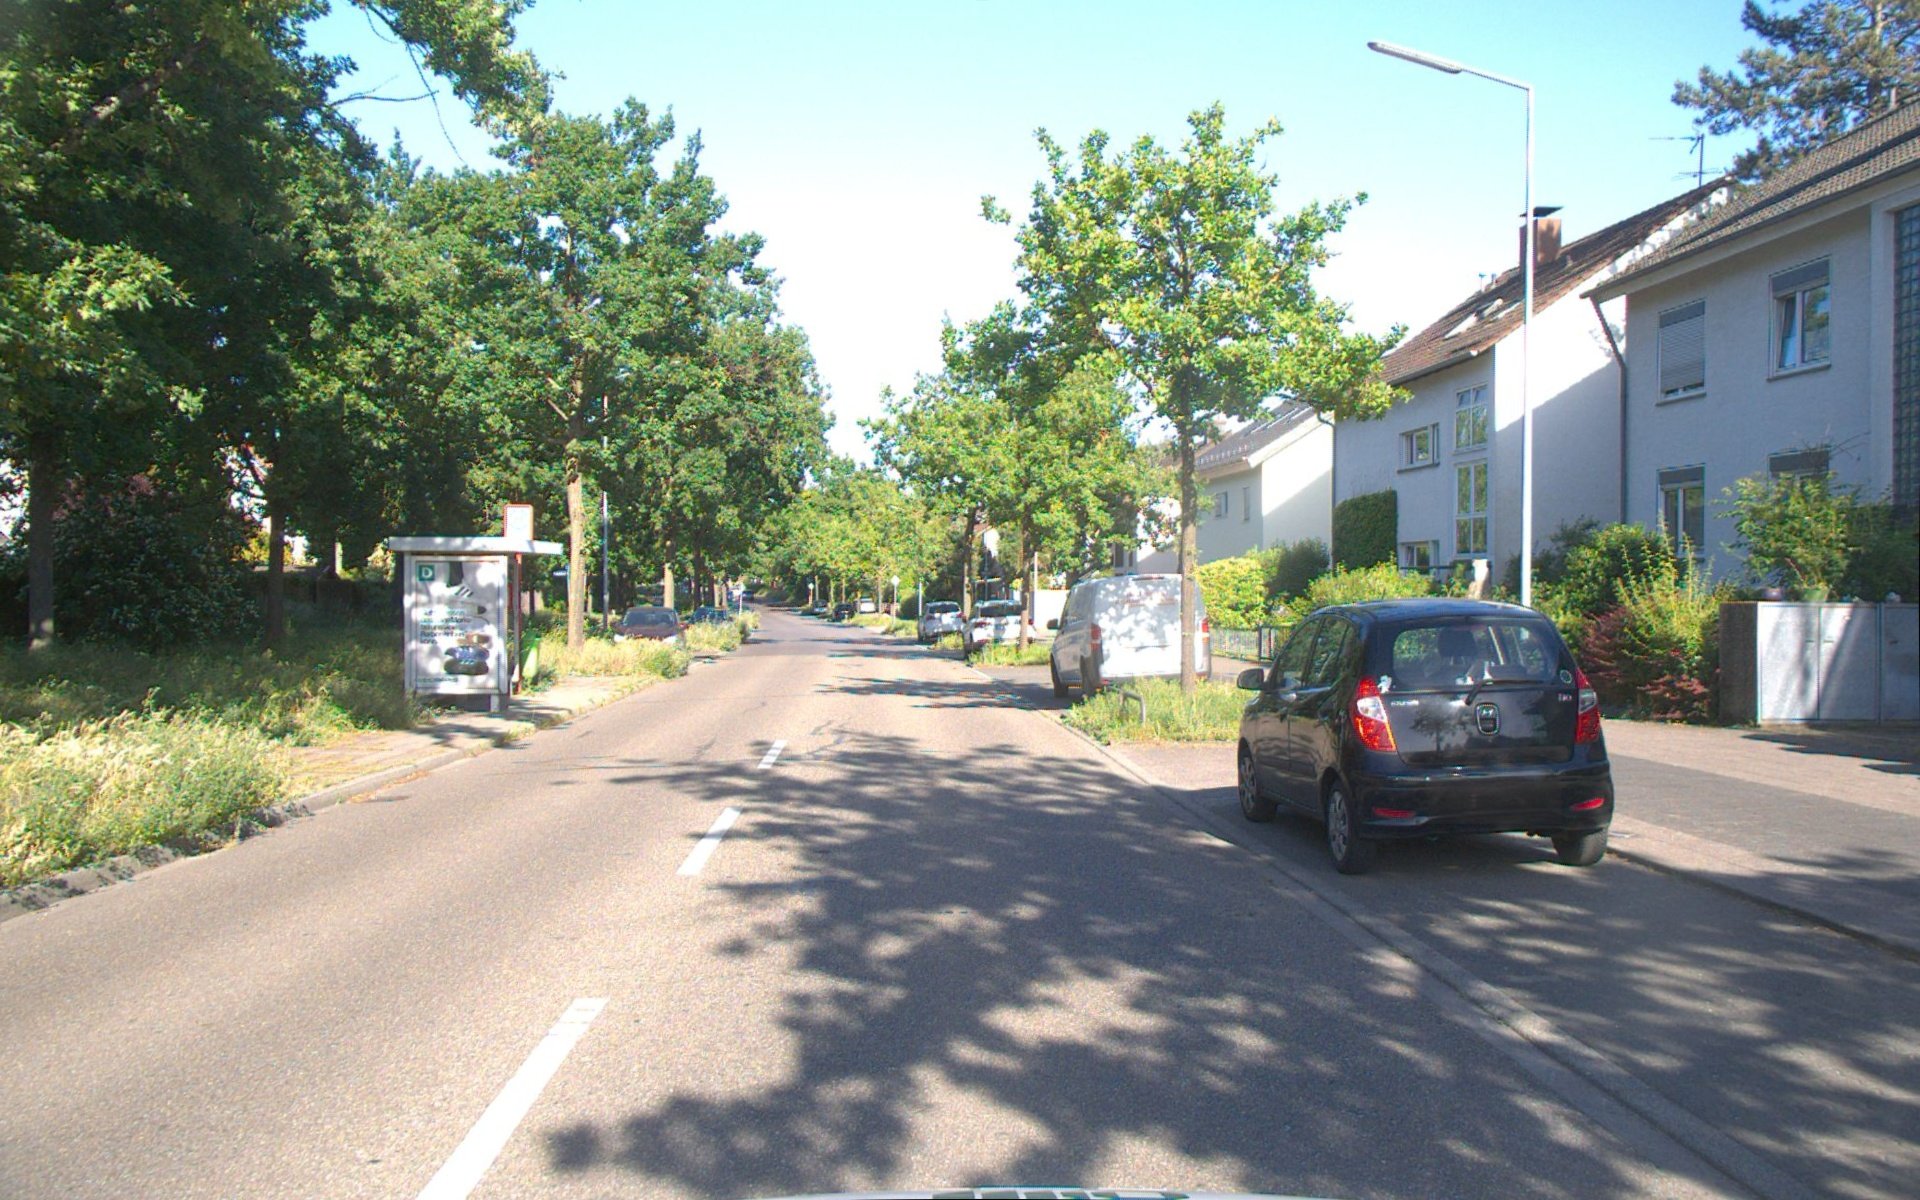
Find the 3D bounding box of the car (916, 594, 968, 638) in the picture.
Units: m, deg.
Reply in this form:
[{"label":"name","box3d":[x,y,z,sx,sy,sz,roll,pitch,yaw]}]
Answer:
[{"label":"car","box3d":[-0.778,0.648,68.806,1.895,1.773,3.996,0,0,-5]}]

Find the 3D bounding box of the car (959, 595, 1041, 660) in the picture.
[{"label":"car","box3d":[1.074,0.747,46.249,1.898,1.734,3.996,0,0,-5]}]

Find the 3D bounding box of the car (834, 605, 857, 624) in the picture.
[{"label":"car","box3d":[-9.531,1.182,137.153,1.895,1.569,3.996,0,0,-5]}]

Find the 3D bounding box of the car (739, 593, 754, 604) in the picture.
[{"label":"car","box3d":[-29.383,-0.159,228.061,1.896,1.479,3.995,0,0,-6]}]

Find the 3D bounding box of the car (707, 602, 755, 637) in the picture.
[{"label":"car","box3d":[-9.953,0.827,72.082,1.761,1.505,3.517,0,0,-3]}]

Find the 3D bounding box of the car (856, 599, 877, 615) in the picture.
[{"label":"car","box3d":[-9.238,0.700,163.441,1.896,1.479,3.995,0,0,-6]}]

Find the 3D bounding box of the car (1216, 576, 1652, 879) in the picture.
[{"label":"car","box3d":[2.890,0.697,10.927,1.639,1.606,3.749,-2,0,-3]}]

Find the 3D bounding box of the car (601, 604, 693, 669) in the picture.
[{"label":"car","box3d":[-7.679,0.869,40.908,1.898,1.505,3.995,0,0,-6]}]

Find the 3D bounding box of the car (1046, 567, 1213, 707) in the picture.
[{"label":"car","box3d":[2.561,0.538,26.136,1.799,2.005,4.754,0,0,-5]}]

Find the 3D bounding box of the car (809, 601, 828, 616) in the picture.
[{"label":"car","box3d":[-14.203,0.852,165.621,1.896,1.479,3.995,0,0,-6]}]

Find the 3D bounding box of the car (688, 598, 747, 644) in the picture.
[{"label":"car","box3d":[-8.782,0.746,60.136,1.955,1.584,3.994,1,0,-7]}]
